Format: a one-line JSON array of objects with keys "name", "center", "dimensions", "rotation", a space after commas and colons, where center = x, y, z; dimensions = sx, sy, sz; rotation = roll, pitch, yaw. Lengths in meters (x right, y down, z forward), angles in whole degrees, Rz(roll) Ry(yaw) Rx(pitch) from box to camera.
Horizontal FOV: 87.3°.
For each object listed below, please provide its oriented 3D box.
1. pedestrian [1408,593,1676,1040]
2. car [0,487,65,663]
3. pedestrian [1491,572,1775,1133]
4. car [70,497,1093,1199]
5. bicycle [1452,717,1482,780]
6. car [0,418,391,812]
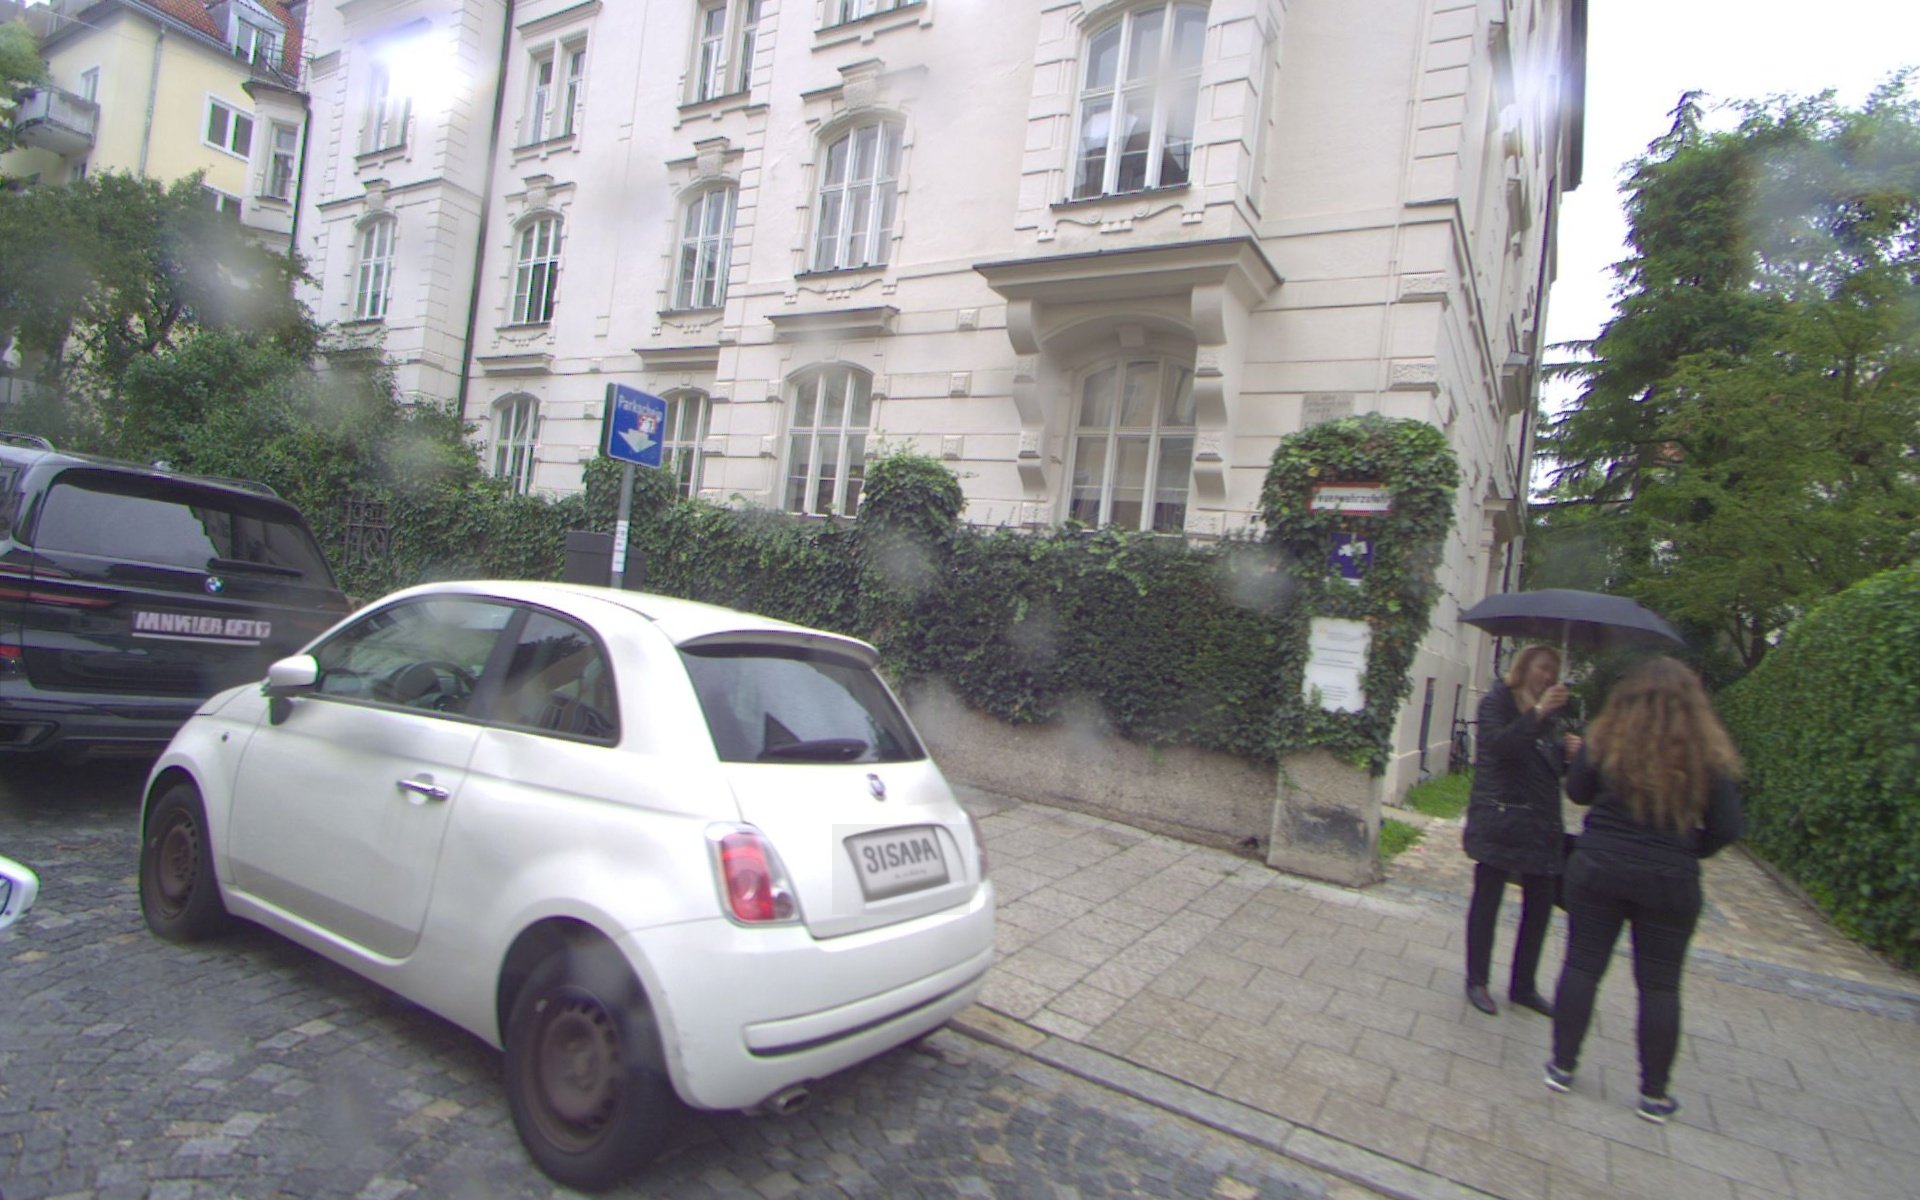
[{"name": "pedestrian", "center": [2.609, 0.928, 4.608], "dimensions": [0.647, 1.834, 0.629], "rotation": [7, 4, 9]}, {"name": "car", "center": [-10.368, -0.484, 9.307], "dimensions": [4.177, 1.498, 1.715], "rotation": [6, -4, 29]}, {"name": "pedestrian", "center": [2.572, 0.877, 3.849], "dimensions": [0.672, 1.872, 0.575], "rotation": [7, 0, 39]}, {"name": "car", "center": [-1.553, 0.585, 3.829], "dimensions": [3.598, 1.485, 1.634], "rotation": [6, -3, 32]}, {"name": "bicycle", "center": [7.791, 2.255, 15.438], "dimensions": [0.312, 0.843, 1.603], "rotation": [6, -2, 28]}, {"name": "car", "center": [-6.082, -0.106, 6.298], "dimensions": [5.400, 1.692, 1.878], "rotation": [6, -2, 31]}]
